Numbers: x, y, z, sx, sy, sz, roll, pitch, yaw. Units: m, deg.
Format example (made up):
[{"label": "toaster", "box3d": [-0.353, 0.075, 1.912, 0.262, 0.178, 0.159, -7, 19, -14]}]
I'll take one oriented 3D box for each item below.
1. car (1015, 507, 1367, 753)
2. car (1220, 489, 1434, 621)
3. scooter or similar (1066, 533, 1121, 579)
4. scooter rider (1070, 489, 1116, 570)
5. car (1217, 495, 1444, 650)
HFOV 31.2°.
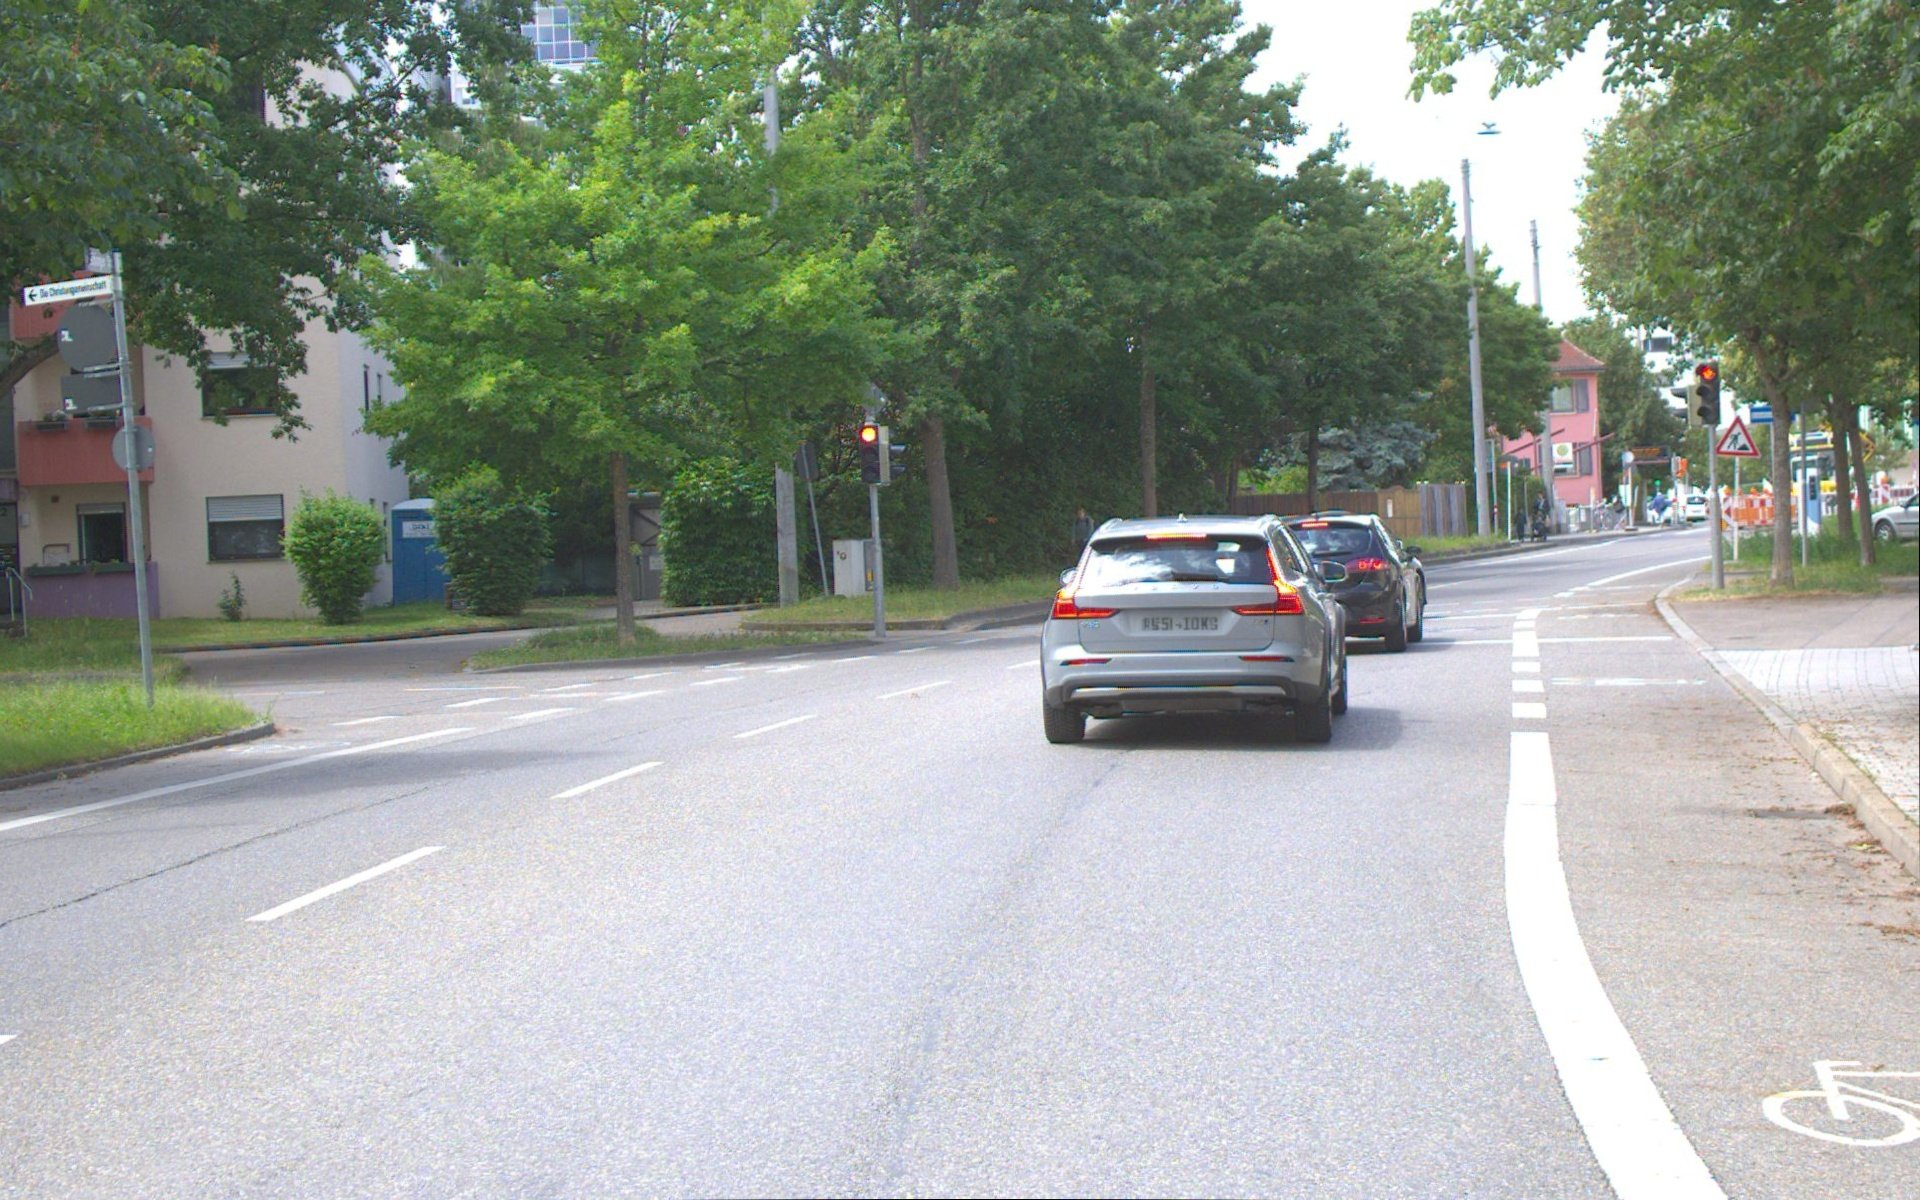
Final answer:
[{"label": "car", "box3d": [1.681, 0.130, 23.532, 1.957, 1.518, 4.327, 0, 2, 10]}, {"label": "car", "box3d": [4.842, -0.565, 44.828, 1.806, 1.611, 4.325, 1, 0, 19]}, {"label": "scooter or similar", "box3d": [2.892, -0.953, 74.433, 0.952, 0.958, 0.690, -2, 1, -30]}, {"label": "scooter rider", "box3d": [2.874, -1.527, 74.433, 0.705, 1.721, 0.680, -1, 0, -29]}, {"label": "car", "box3d": [4.008, -0.340, 36.646, 1.805, 1.518, 4.326, 1, 2, 14]}]
